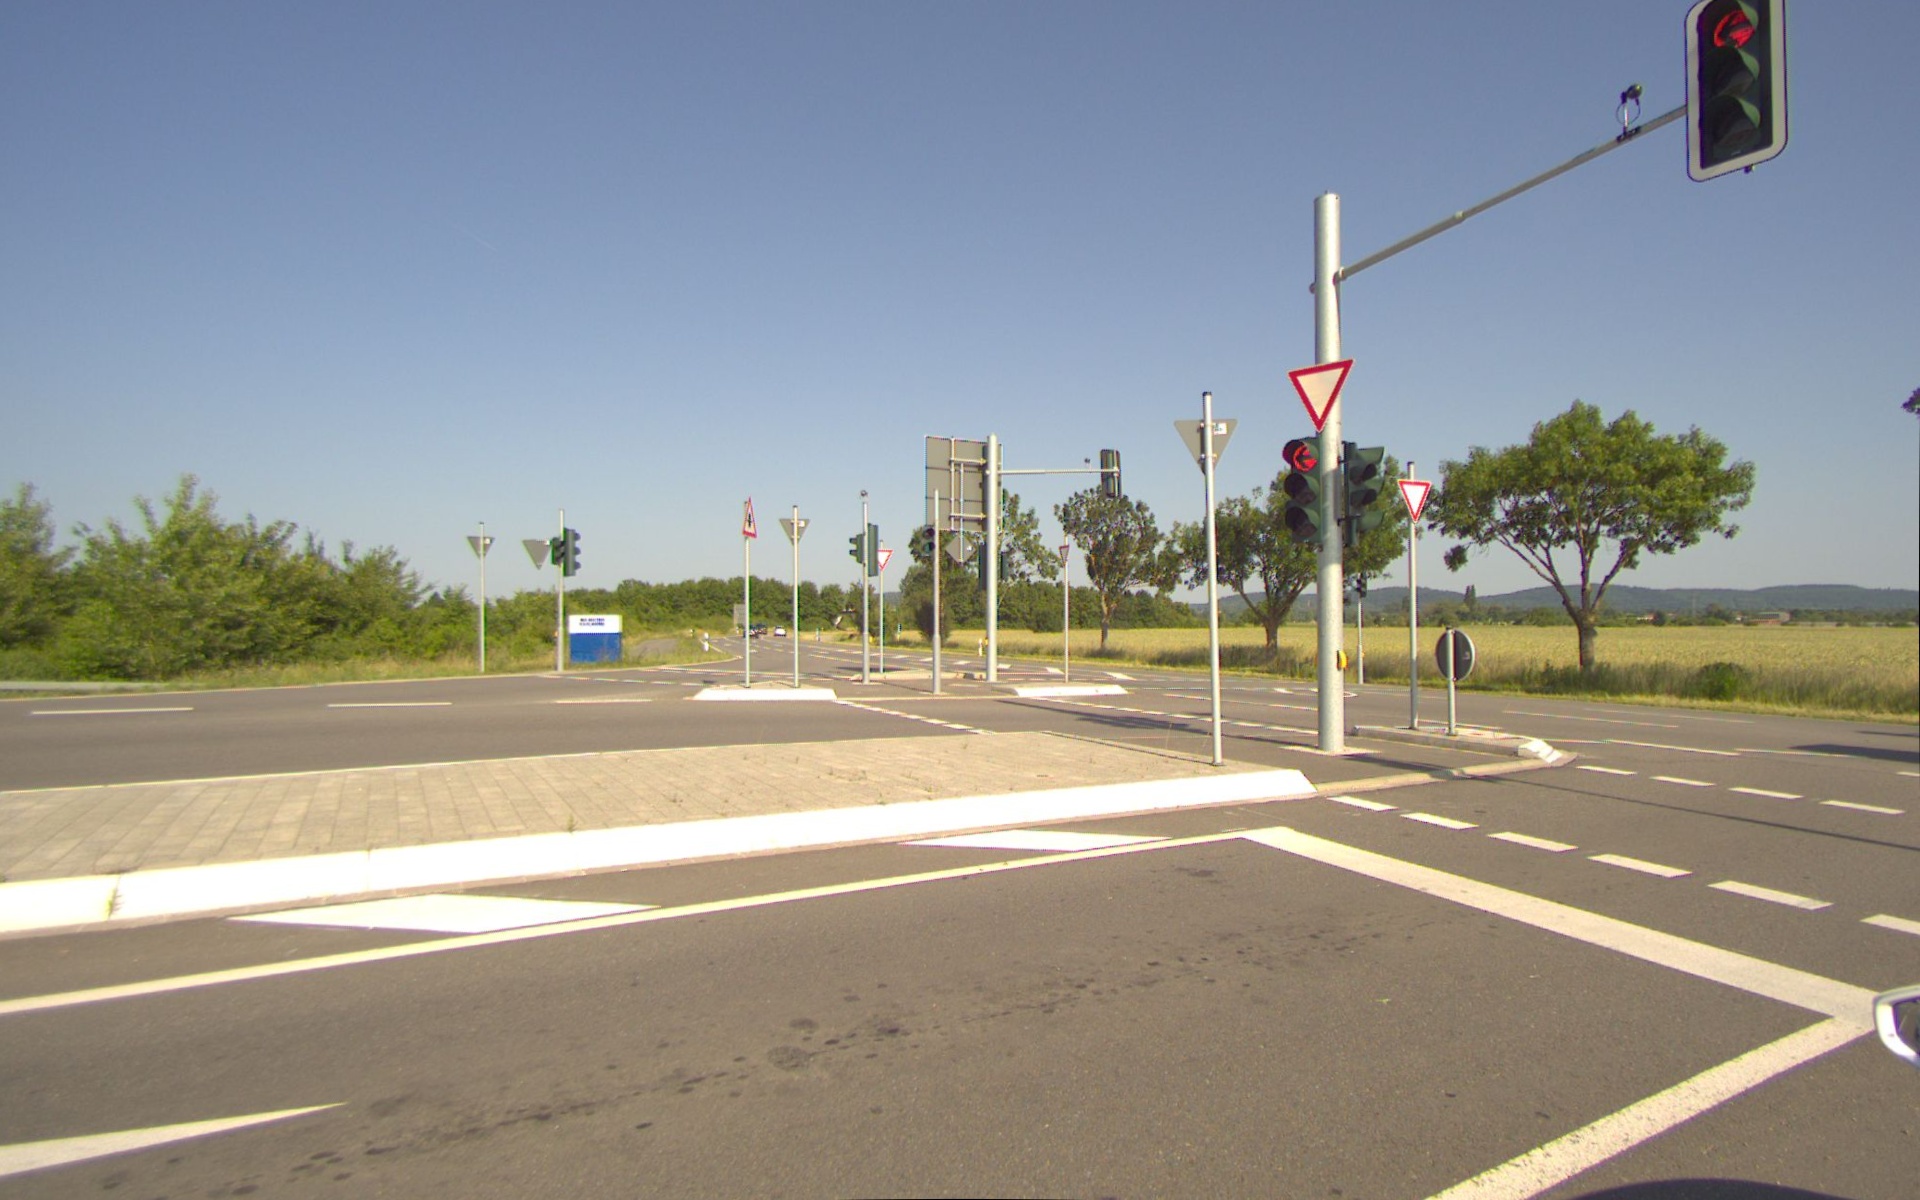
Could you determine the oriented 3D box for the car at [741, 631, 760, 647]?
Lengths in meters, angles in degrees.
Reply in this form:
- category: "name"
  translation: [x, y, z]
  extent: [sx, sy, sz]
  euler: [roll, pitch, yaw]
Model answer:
- category: "car"
  translation: [-25.089, 4.647, 120.046]
  extent: [1.966, 1.746, 4.605]
  euler: [2, 0, -14]
